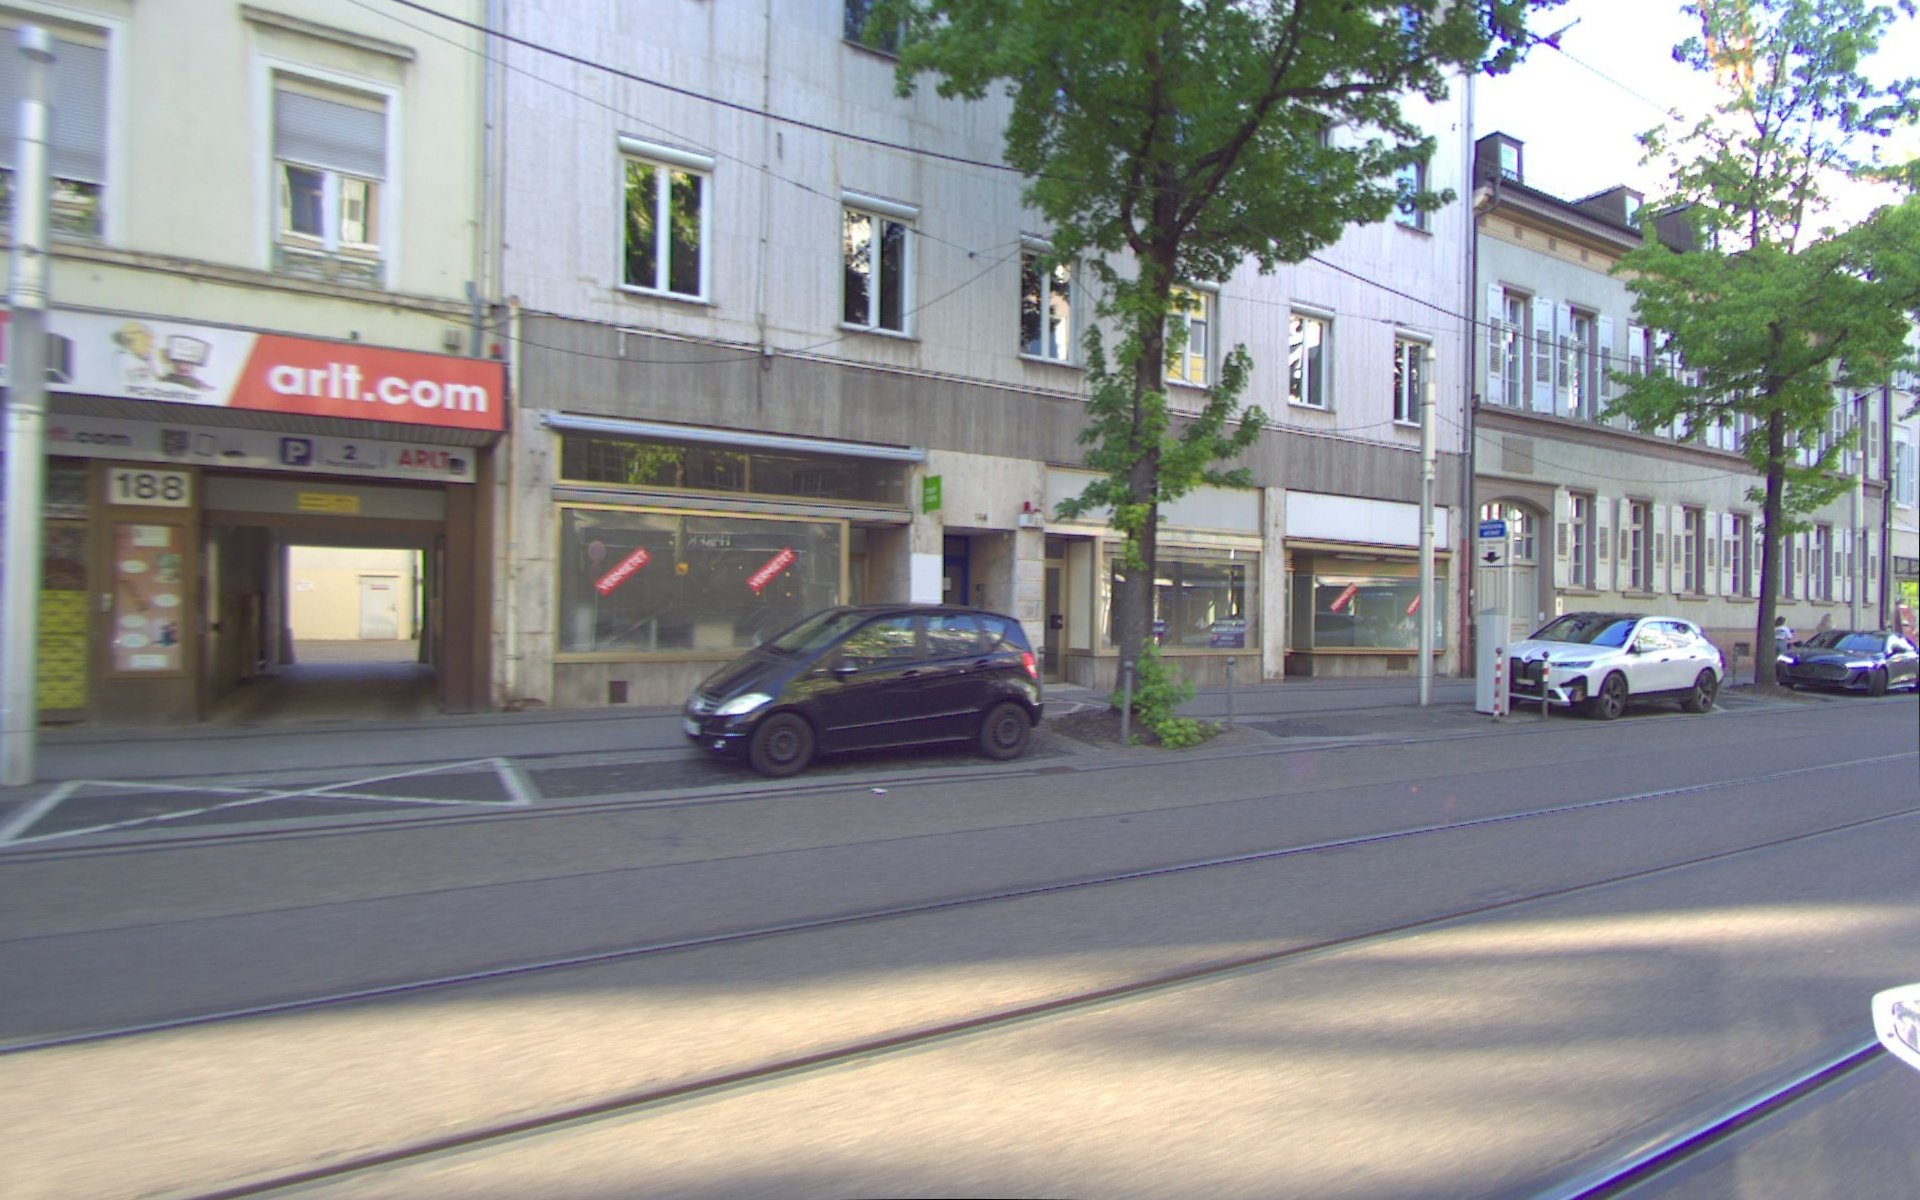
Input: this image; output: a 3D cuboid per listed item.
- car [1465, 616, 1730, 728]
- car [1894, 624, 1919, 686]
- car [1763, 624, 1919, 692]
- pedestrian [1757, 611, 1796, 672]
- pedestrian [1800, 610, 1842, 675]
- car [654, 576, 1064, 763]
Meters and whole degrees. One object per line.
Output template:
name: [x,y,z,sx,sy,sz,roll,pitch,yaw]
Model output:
car: [11.384,1.205,17.862,4.755,1.662,1.952,1,1,-30]
car: [27.830,1.519,27.472,4.849,1.662,1.938,1,-1,-29]
car: [20.995,1.310,23.602,4.794,1.431,1.950,2,-1,-33]
pedestrian: [23.276,1.179,28.644,0.640,1.702,0.671,1,-1,-30]
pedestrian: [23.542,1.164,27.470,0.648,1.743,0.683,1,0,-30]
car: [-1.053,0.648,10.884,3.955,1.662,1.951,1,1,-31]
